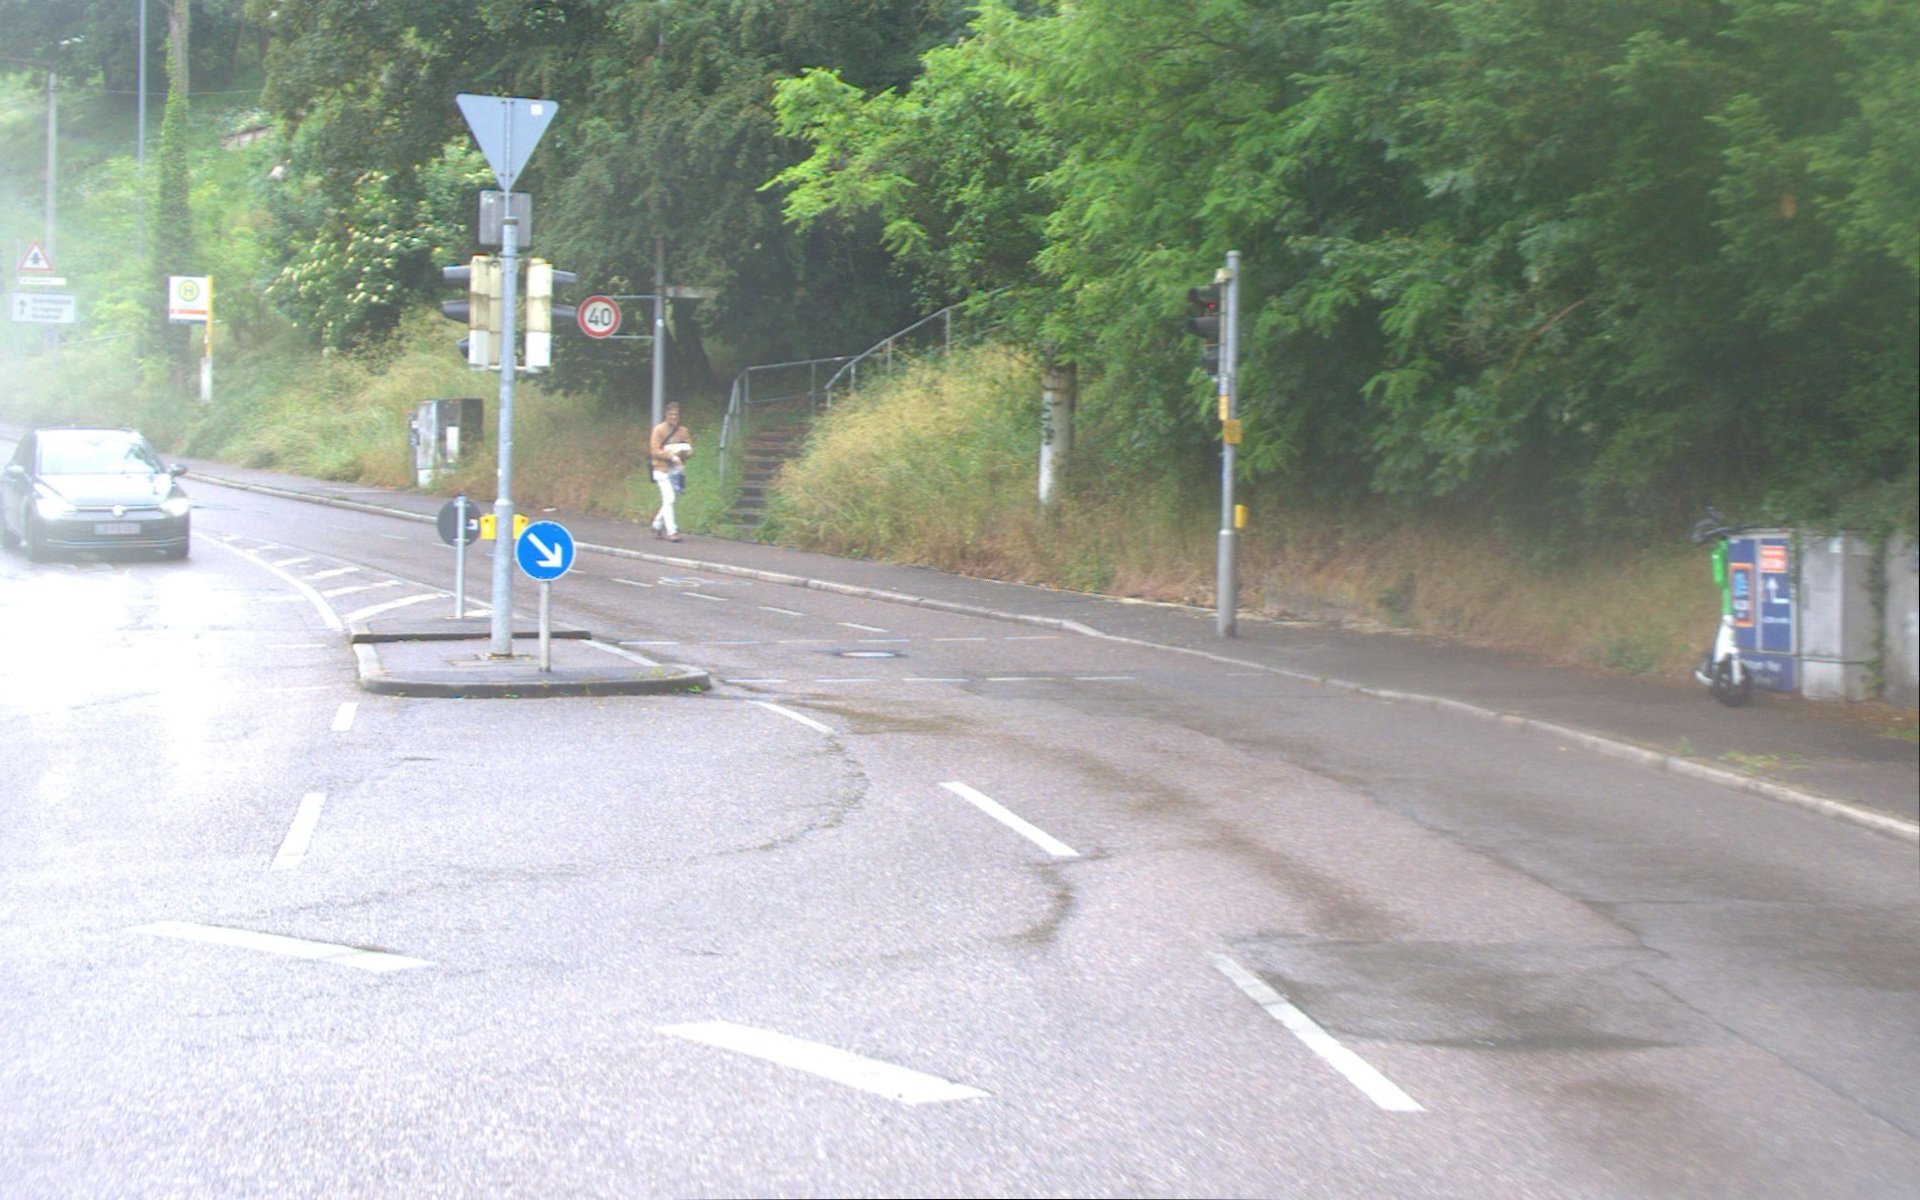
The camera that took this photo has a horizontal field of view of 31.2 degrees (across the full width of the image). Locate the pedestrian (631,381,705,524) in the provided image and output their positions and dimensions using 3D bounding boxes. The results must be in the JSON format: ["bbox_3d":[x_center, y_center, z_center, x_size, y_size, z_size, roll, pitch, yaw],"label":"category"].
[{"bbox_3d":[-3.660,-1.845,43.061,0.647,1.746,0.799,1,4,-23],"label":"pedestrian"}]

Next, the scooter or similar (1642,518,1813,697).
[{"bbox_3d":[4.948,0.027,22.259,0.602,1.071,1.769,1,2,-3],"label":"scooter or similar"}]

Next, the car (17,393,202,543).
[{"bbox_3d":[-10.030,-1.604,40.321,1.882,1.516,4.695,-2,5,-16],"label":"car"}]
